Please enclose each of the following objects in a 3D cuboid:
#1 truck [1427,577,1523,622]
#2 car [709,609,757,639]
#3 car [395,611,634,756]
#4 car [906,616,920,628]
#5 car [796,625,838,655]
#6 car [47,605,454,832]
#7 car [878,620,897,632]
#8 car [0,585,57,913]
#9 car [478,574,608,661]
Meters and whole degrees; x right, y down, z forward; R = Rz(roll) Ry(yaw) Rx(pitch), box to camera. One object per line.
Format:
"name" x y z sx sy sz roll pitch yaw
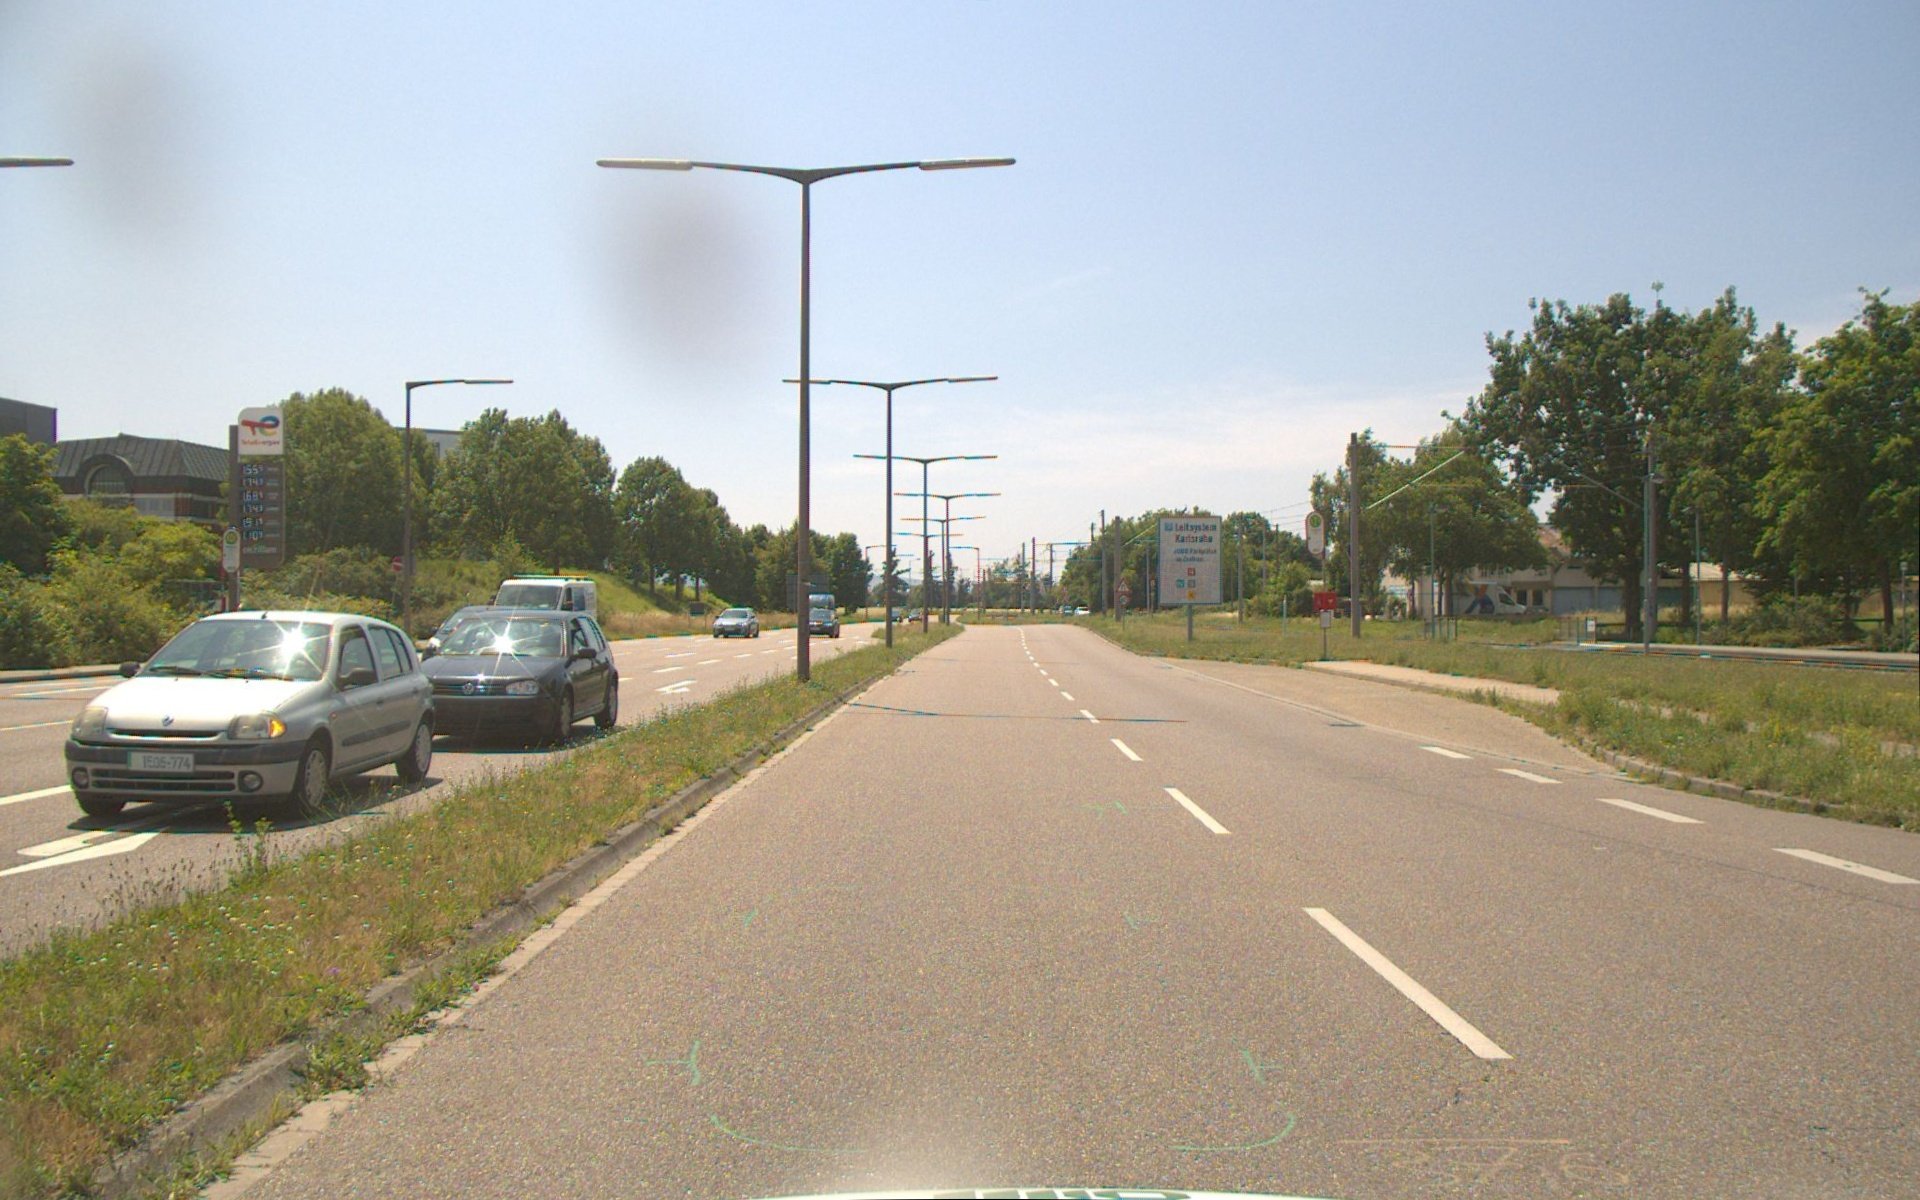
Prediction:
"truck" 35.212 -0.001 113.161 5.730 2.893 2.316 -2 -1 -7
"car" -11.455 1.183 83.725 1.793 1.474 4.850 0 0 -1
"car" -4.958 0.874 18.981 1.641 1.459 4.190 1 -1 -1
"car" -5.994 2.828 210.004 1.657 1.518 4.000 0 0 0
"car" -7.444 2.053 86.662 1.695 1.483 4.565 0 0 1
"car" -5.228 0.782 12.746 1.529 1.448 3.853 1 0 -1
"car" -8.775 3.169 200.816 1.952 1.383 4.666 -1 0 1
"car" -5.210 0.677 6.096 1.625 1.516 3.999 0 0 -1
"car" -11.832 0.504 47.352 2.203 2.313 5.449 1 -1 1
